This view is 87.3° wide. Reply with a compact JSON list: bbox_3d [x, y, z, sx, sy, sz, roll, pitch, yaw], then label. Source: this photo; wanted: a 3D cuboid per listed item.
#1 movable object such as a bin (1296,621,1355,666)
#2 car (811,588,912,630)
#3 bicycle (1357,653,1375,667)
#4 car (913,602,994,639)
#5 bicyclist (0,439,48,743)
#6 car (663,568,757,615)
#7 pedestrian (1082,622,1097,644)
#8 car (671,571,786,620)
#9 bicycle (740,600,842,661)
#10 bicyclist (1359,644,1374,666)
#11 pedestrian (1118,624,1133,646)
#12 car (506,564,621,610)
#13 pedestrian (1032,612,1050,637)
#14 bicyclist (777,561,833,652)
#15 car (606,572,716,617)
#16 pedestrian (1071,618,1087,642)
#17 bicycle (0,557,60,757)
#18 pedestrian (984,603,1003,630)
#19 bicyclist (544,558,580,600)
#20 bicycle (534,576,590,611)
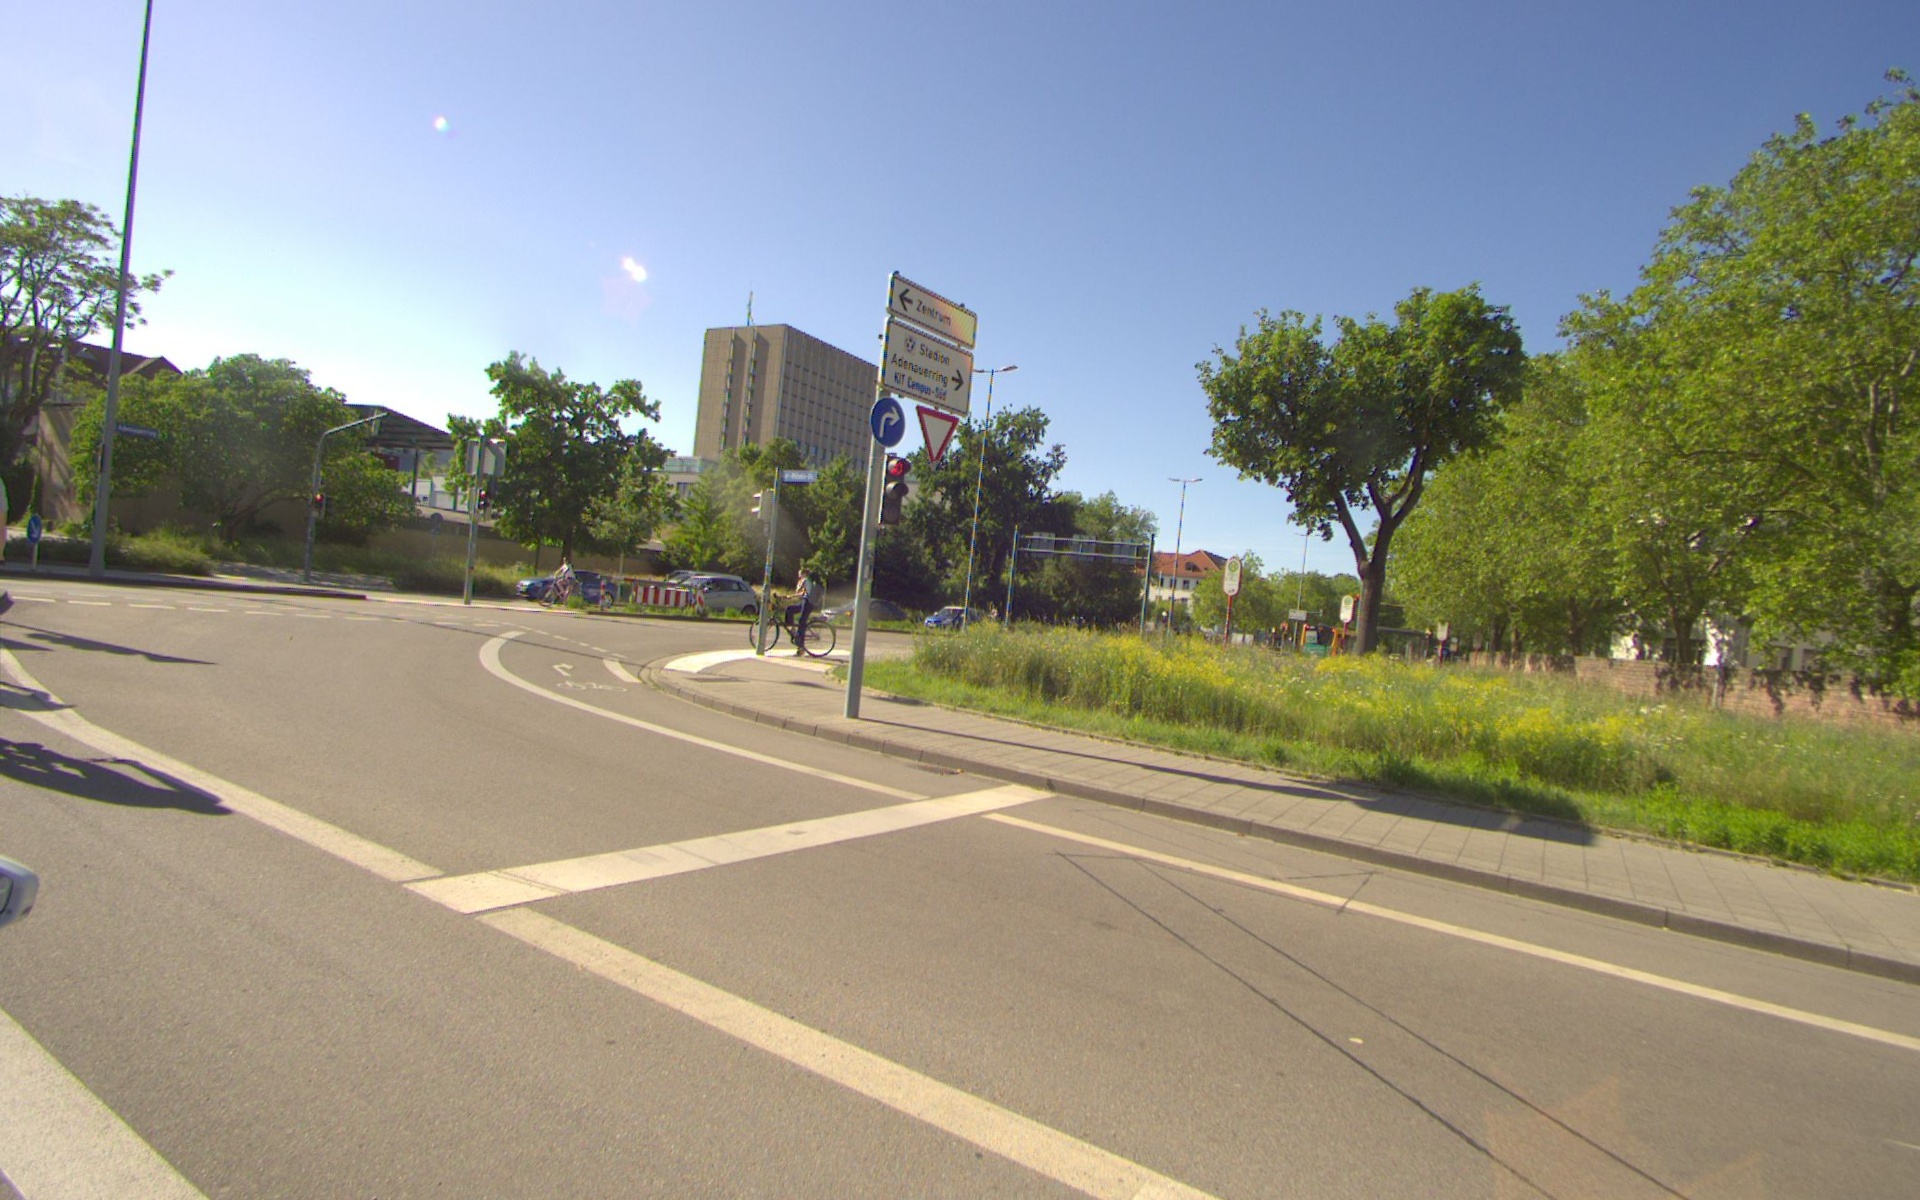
[{"bbox_3d":[27.985,3.400,76.756,2.954,2.898,9.178,6,0,27],"label":"movable object such as a bin"},{"bbox_3d":[-4.313,0.433,44.628,1.767,1.415,4.557,7,0,37],"label":"car"},{"bbox_3d":[30.871,4.543,76.441,0.640,0.986,1.895,7,1,39],"label":"bicycle"},{"bbox_3d":[-0.298,1.048,50.455,1.916,1.415,3.986,6,0,37],"label":"car"},{"bbox_3d":[-6.313,-0.112,6.136,1.123,1.813,0.684,7,0,32],"label":"bicyclist"},{"bbox_3d":[-11.846,-0.369,47.794,1.767,1.771,3.986,7,0,37],"label":"car"},{"bbox_3d":[12.228,3.124,95.018,0.752,2.039,1.267,7,1,36],"label":"pedestrian"},{"bbox_3d":[-8.744,-0.132,38.287,1.767,1.415,3.986,7,0,37],"label":"car"},{"bbox_3d":[-3.295,0.590,19.675,1.856,0.970,0.635,7,1,-10],"label":"bicycle"},{"bbox_3d":[30.821,4.177,76.323,0.632,1.533,1.049,7,2,39],"label":"bicyclist"},{"bbox_3d":[16.334,3.487,99.464,0.752,2.039,1.267,7,1,36],"label":"pedestrian"},{"bbox_3d":[-16.214,-0.527,41.316,1.767,1.415,3.986,7,0,37],"label":"car"},{"bbox_3d":[7.019,2.128,87.130,0.752,2.039,1.267,7,1,36],"label":"pedestrian"},{"bbox_3d":[-3.042,0.123,19.703,0.898,1.667,0.630,6,1,-9],"label":"bicyclist"},{"bbox_3d":[-12.303,-0.202,41.569,1.767,1.415,3.986,7,0,37],"label":"car"},{"bbox_3d":[10.868,2.745,92.106,0.752,2.039,1.267,7,1,36],"label":"pedestrian"},{"bbox_3d":[-6.339,0.250,6.129,1.890,1.102,0.690,6,-1,32],"label":"bicycle"},{"bbox_3d":[2.721,1.300,80.753,0.752,2.039,1.267,7,1,36],"label":"pedestrian"},{"bbox_3d":[-13.946,-0.725,35.270,0.602,1.360,0.874,7,1,37],"label":"bicyclist"},{"bbox_3d":[-13.961,-0.232,35.330,0.602,1.046,1.681,7,0,37],"label":"bicycle"}]
